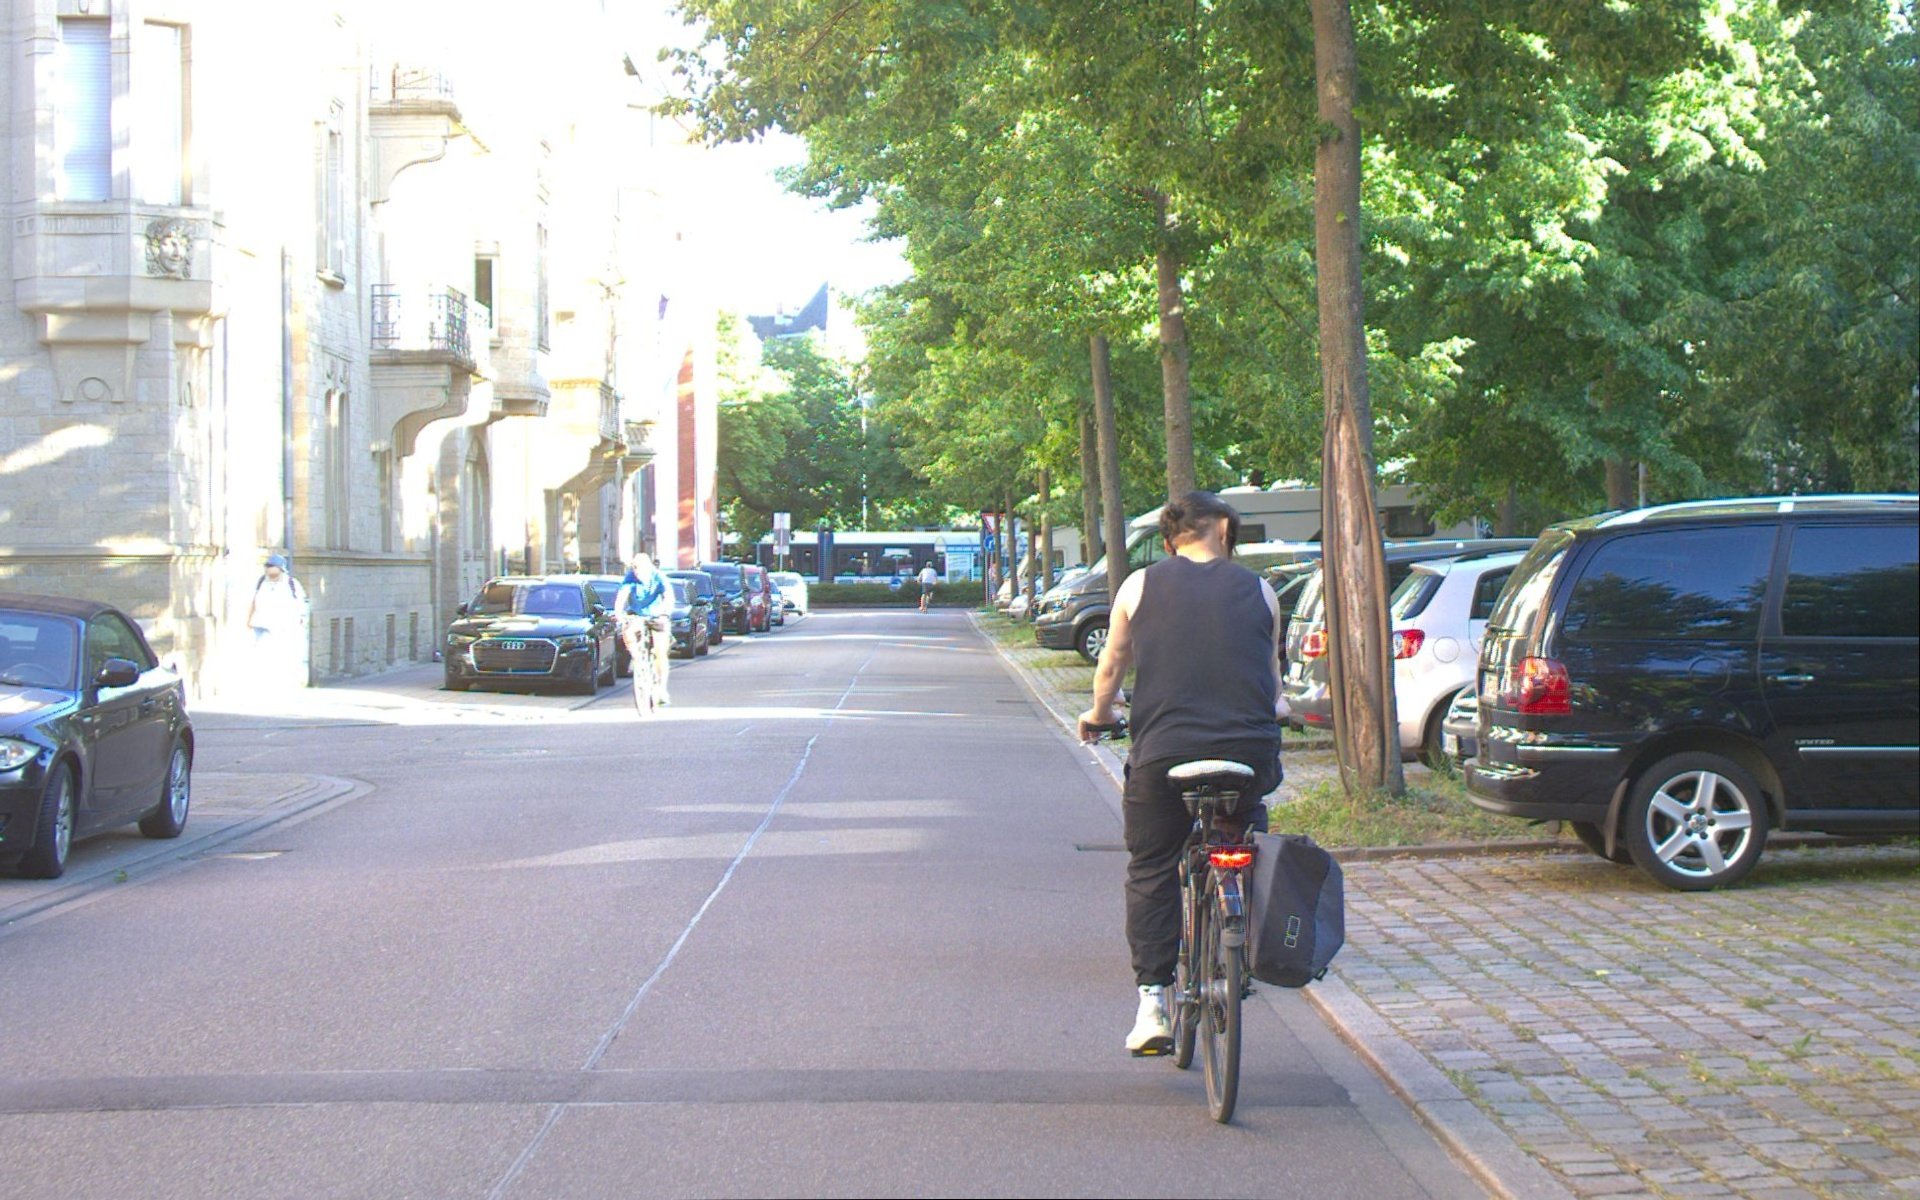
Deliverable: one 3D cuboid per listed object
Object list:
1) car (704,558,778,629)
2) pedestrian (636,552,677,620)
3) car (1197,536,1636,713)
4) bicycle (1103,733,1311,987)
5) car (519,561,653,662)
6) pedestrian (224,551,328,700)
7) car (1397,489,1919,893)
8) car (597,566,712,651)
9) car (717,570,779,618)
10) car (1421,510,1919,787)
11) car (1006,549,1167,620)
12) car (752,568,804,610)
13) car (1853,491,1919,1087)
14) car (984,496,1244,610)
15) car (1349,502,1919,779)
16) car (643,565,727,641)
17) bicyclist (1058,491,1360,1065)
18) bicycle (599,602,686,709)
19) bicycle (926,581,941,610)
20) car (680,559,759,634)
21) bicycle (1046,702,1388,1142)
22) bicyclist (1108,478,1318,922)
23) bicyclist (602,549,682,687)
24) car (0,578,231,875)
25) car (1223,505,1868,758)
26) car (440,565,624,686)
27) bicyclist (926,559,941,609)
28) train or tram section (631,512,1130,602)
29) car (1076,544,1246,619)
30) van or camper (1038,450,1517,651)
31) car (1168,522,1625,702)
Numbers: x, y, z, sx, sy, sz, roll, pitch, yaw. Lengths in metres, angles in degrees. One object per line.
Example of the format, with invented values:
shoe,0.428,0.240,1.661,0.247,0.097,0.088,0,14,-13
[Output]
car,-5.935,-0.194,93.696,1.689,1.819,4.273,2,1,0
pedestrian,-7.842,-0.359,88.787,0.938,1.736,0.735,1,0,1
car,4.483,0.226,34.176,4.068,1.471,1.694,-3,1,1
bicycle,0.915,0.958,13.110,0.633,0.796,1.832,-1,1,-1
car,-5.557,0.170,51.477,1.696,1.448,4.028,0,0,-2
pedestrian,-7.478,0.270,37.607,0.888,1.572,1.053,-2,1,0
car,4.493,0.321,16.171,4.581,1.671,1.907,-3,1,2
car,-5.614,0.131,63.617,1.675,1.425,4.550,2,1,0
car,-6.419,-0.200,104.321,1.583,1.339,4.131,2,1,0
car,4.796,0.244,20.771,3.721,1.448,1.589,-3,1,-1
car,3.346,-0.404,91.288,4.082,1.644,1.641,-3,0,-2
car,-6.441,-0.395,121.917,1.583,1.371,4.131,2,1,0
car,4.824,0.392,8.827,4.475,1.628,1.875,-3,1,-1
car,4.381,-1.346,98.515,7.146,2.968,2.465,-2,0,-3
car,4.926,0.245,23.687,4.273,1.628,1.690,-3,1,3
car,-5.851,0.048,73.354,1.595,1.484,2.737,3,1,-2
bicyclist,0.691,0.487,9.792,0.730,1.542,0.884,2,0,-2
bicycle,-3.383,0.577,36.781,0.757,1.104,1.907,-1,0,-1
bicycle,-0.946,-0.158,122.830,0.498,1.002,1.474,1,-1,0
car,-6.068,-0.117,86.973,1.640,1.777,4.354,2,1,0
bicycle,0.680,0.849,9.728,0.737,1.050,1.956,2,0,-2
bicyclist,0.949,0.362,13.106,0.689,1.621,0.998,1,0,-1
bicyclist,-3.396,0.190,36.753,0.759,1.449,0.949,-1,0,-1
car,-5.303,0.600,18.926,1.635,1.406,4.333,2,0,0
car,4.500,0.221,26.782,4.538,1.628,1.813,-4,1,-6
car,-5.509,0.301,44.802,1.811,1.422,4.898,2,0,-1
bicyclist,-0.940,-0.569,122.823,0.486,1.738,0.656,1,0,-1
train or tram section,-3.616,-1.972,164.335,23.799,3.696,4.287,1,0,-22
car,4.524,-0.404,77.818,3.773,1.594,1.690,-1,-1,1
van or camper,4.867,-0.770,53.612,7.147,2.638,2.464,-3,1,2
car,4.612,0.118,36.806,4.619,1.704,1.833,-2,1,1
